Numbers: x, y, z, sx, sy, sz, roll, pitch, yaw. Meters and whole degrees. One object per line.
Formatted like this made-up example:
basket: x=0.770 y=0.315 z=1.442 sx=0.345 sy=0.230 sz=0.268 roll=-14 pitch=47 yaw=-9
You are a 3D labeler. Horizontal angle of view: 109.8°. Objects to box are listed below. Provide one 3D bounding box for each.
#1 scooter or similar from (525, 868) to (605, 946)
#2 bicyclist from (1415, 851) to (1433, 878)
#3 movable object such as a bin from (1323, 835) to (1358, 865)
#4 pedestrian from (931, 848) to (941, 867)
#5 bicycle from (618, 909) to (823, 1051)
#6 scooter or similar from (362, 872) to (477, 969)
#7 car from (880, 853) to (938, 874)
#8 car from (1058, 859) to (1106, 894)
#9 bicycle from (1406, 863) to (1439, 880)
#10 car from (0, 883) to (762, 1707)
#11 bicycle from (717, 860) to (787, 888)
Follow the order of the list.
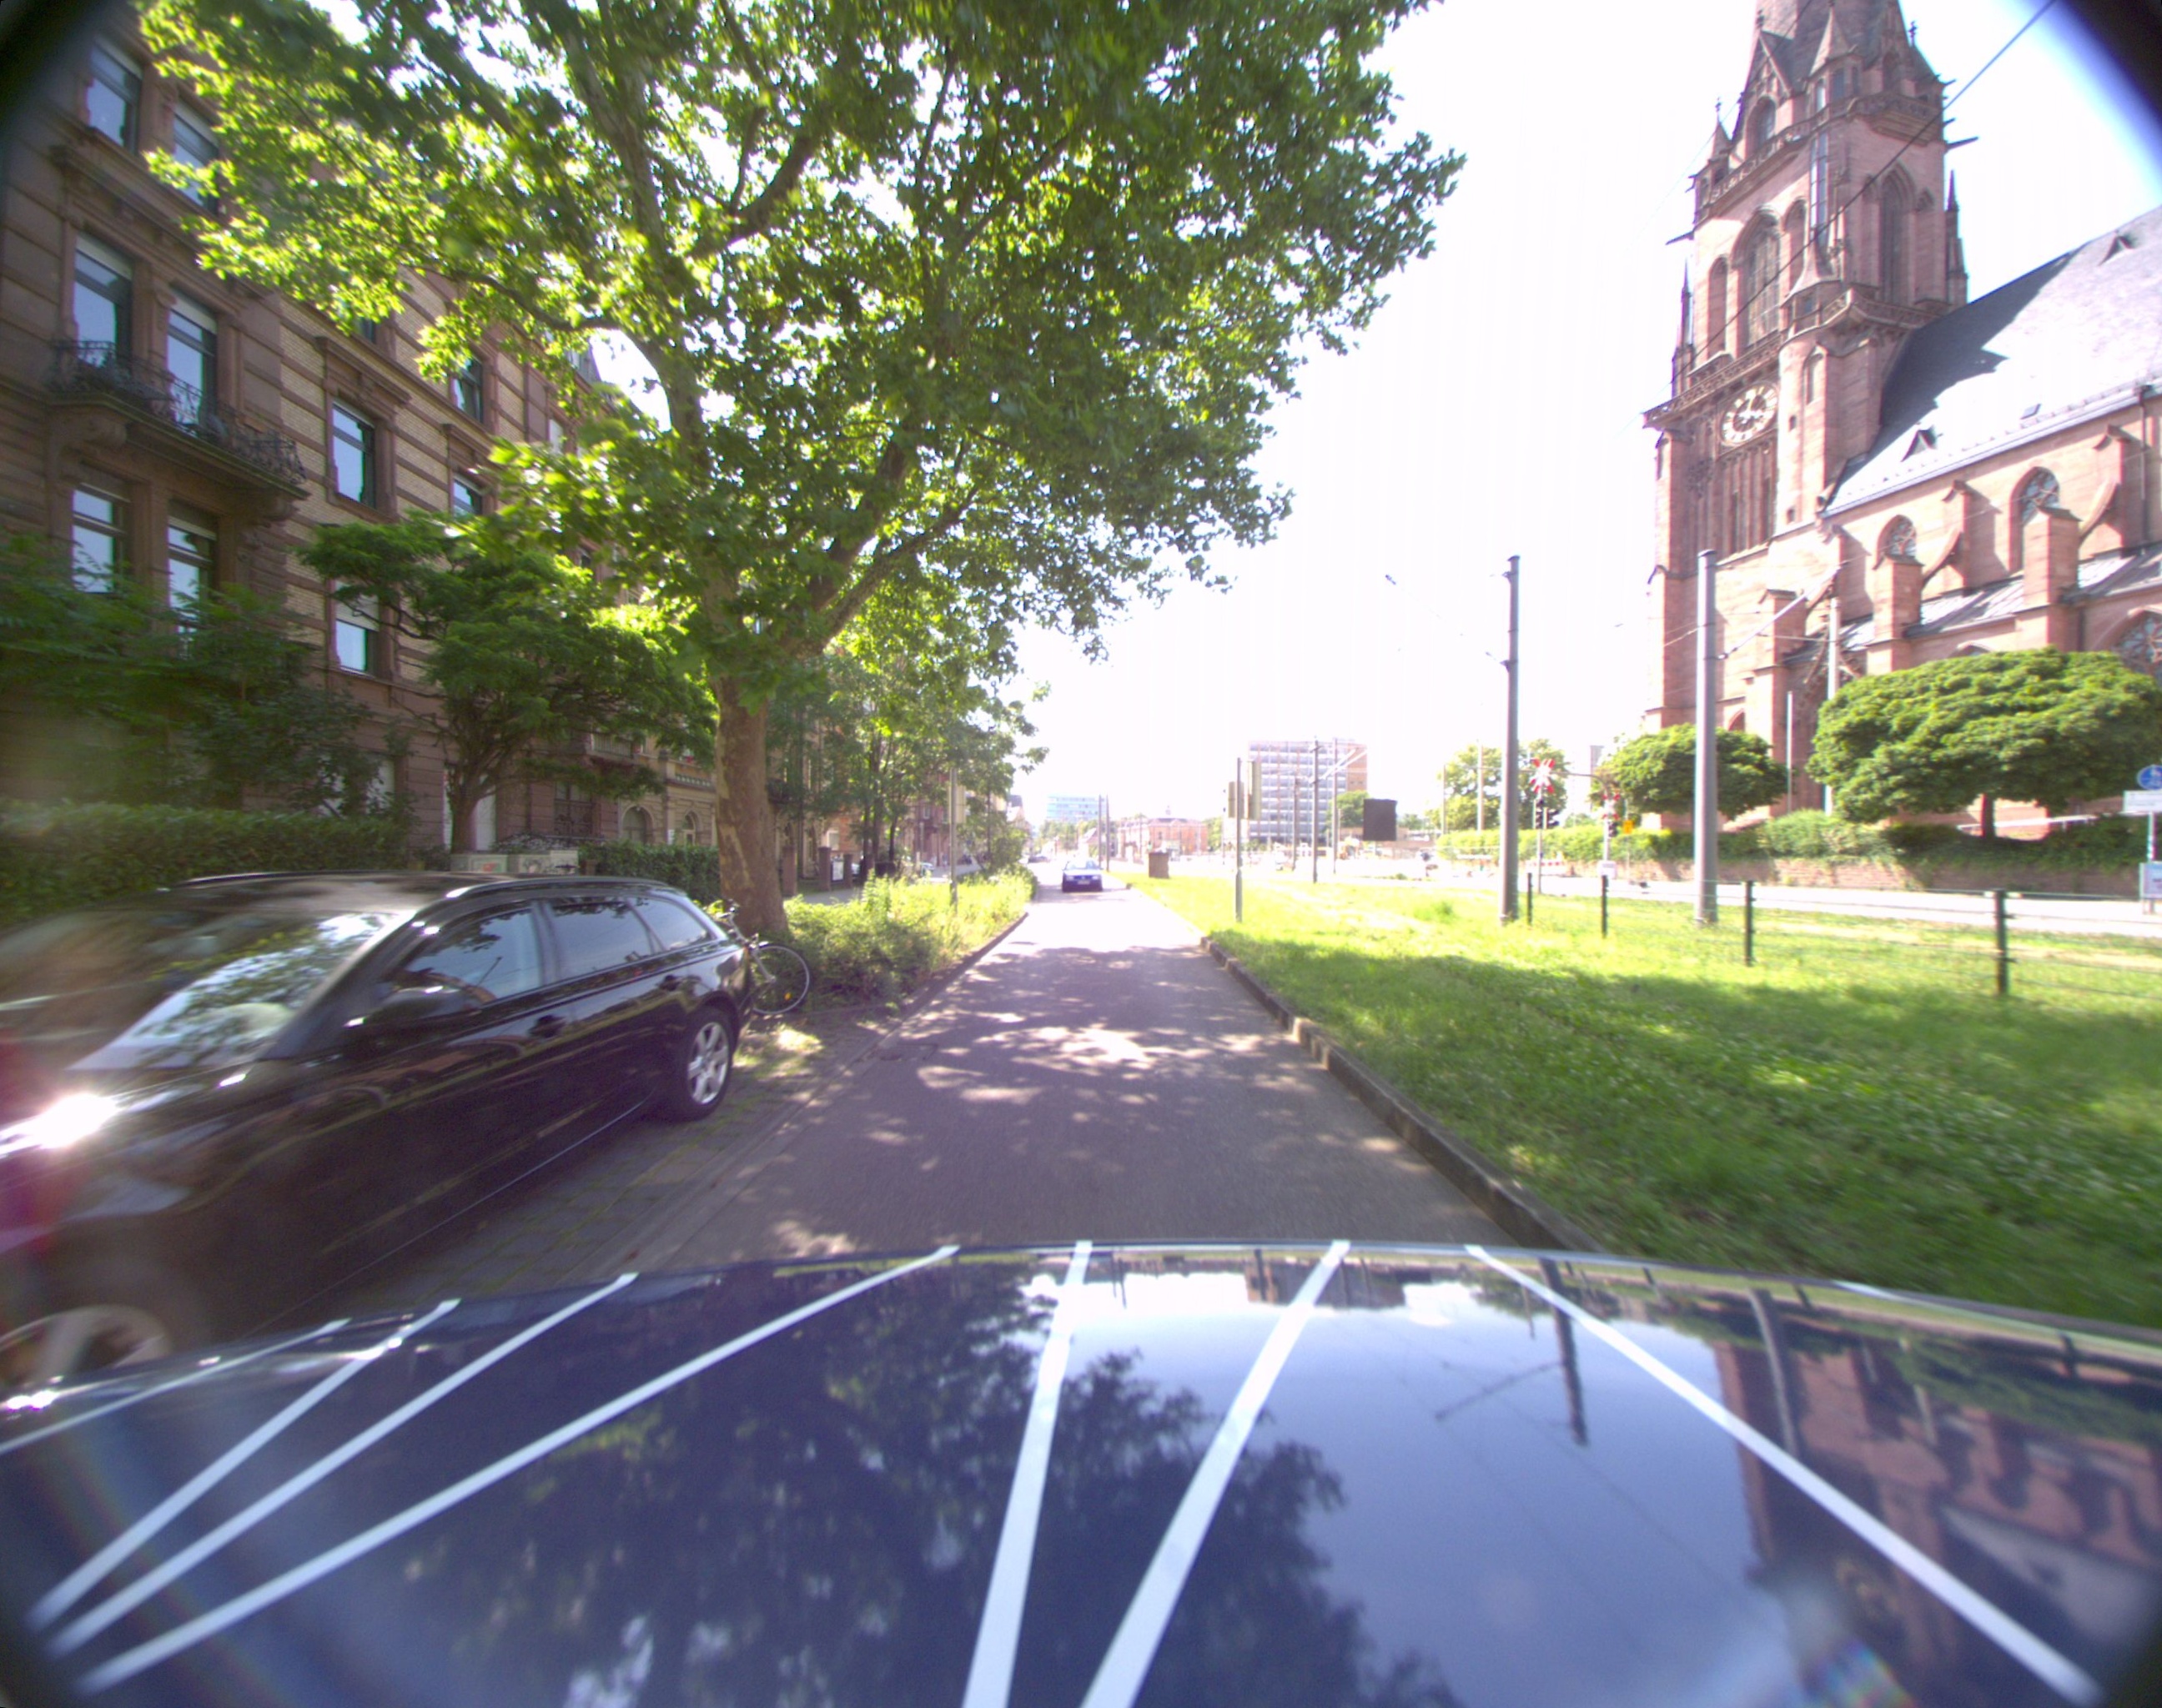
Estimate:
scooter or similar: x=-8.952 y=0.890 z=13.218 sx=0.583 sy=1.275 sz=1.145 roll=0 pitch=1 yaw=2
bicyclist: x=22.242 y=0.681 z=49.267 sx=0.646 sy=1.752 sz=0.793 roll=0 pitch=1 yaw=-27
movable object such as a bin: x=35.002 y=-0.539 z=102.491 sx=3.341 sy=3.859 sz=2.931 roll=0 pitch=1 yaw=-34
pedestrian: x=-13.160 y=0.347 z=68.968 sx=0.797 sy=1.708 sz=0.967 roll=0 pitch=1 yaw=-1
bicycle: x=-3.258 y=1.095 z=6.942 sx=1.641 sy=1.082 sz=0.470 roll=0 pitch=1 yaw=-34
scooter or similar: x=-9.088 y=0.887 z=10.493 sx=0.583 sy=1.240 sz=1.145 roll=0 pitch=1 yaw=0
car: x=-12.844 y=0.719 z=57.018 sx=4.093 sy=1.507 sz=1.886 roll=0 pitch=0 yaw=-9
car: x=0.108 y=0.942 z=33.310 sx=1.886 sy=1.401 sz=4.094 roll=-1 pitch=0 yaw=3
bicycle: x=22.160 y=1.104 z=49.404 sx=0.658 sy=1.040 sz=1.965 roll=0 pitch=0 yaw=-27
car: x=-3.069 y=0.955 z=2.800 sx=1.838 sy=1.499 sz=4.643 roll=0 pitch=0 yaw=0
bicycle: x=-13.714 y=0.814 z=31.770 sx=2.584 sy=1.105 sz=1.111 roll=0 pitch=1 yaw=-20
